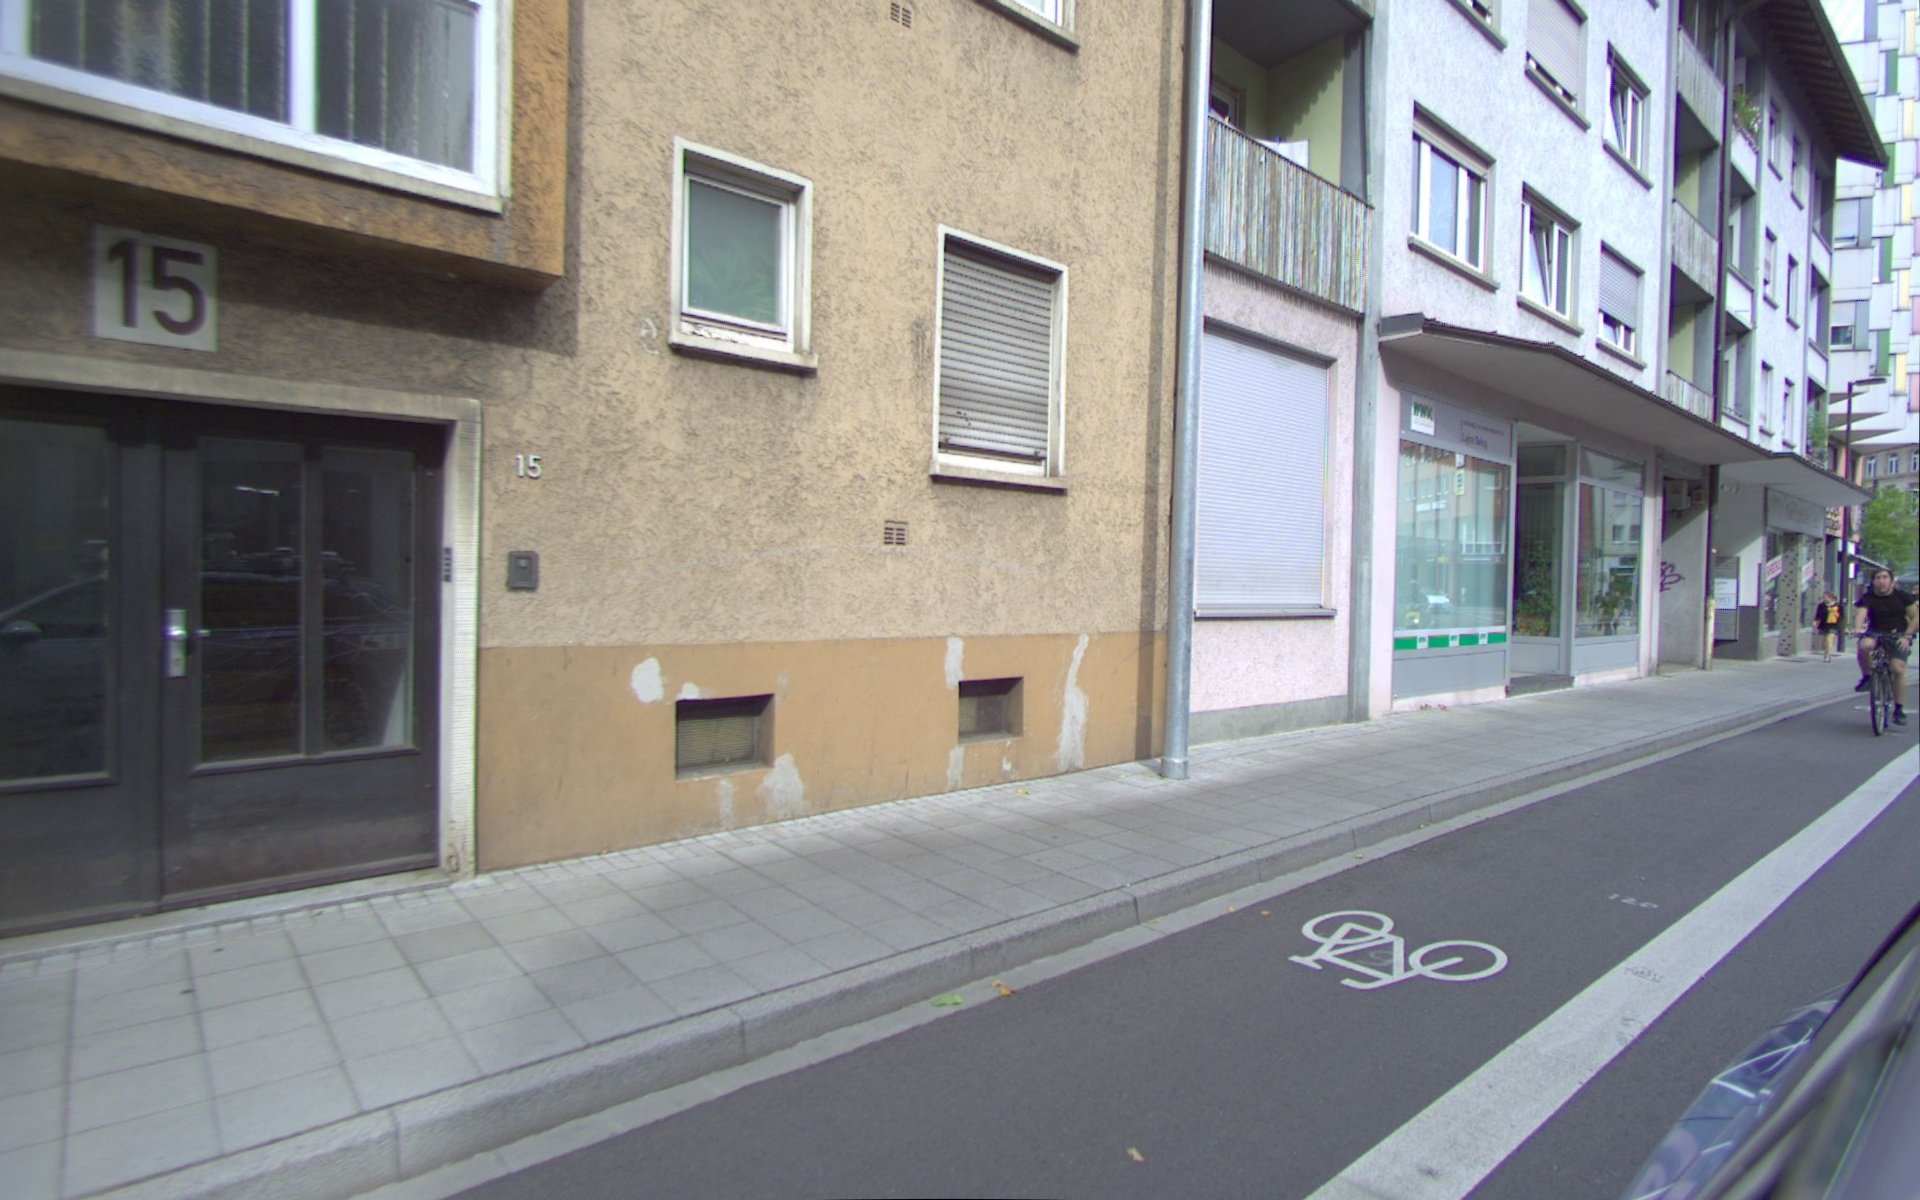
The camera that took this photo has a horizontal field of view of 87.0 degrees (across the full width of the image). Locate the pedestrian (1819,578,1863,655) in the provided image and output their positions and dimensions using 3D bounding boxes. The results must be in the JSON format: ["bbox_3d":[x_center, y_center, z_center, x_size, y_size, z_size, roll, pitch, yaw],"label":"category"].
[{"bbox_3d":[19.803,0.355,22.752,0.928,1.689,0.605,0,1,-43],"label":"pedestrian"}]

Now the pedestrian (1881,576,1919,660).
[{"bbox_3d":[20.466,0.382,21.841,0.844,1.772,0.752,0,1,-41],"label":"pedestrian"}]

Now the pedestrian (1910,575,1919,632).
[{"bbox_3d":[33.003,0.122,34.528,0.579,1.926,0.674,1,3,-40],"label":"pedestrian"}]

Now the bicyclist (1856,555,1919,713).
[{"bbox_3d":[10.690,0.361,11.557,0.848,1.731,0.559,1,1,-41],"label":"bicyclist"}]

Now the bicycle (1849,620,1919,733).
[{"bbox_3d":[10.553,0.824,11.497,1.982,1.136,0.406,-1,1,-40],"label":"bicycle"}]
